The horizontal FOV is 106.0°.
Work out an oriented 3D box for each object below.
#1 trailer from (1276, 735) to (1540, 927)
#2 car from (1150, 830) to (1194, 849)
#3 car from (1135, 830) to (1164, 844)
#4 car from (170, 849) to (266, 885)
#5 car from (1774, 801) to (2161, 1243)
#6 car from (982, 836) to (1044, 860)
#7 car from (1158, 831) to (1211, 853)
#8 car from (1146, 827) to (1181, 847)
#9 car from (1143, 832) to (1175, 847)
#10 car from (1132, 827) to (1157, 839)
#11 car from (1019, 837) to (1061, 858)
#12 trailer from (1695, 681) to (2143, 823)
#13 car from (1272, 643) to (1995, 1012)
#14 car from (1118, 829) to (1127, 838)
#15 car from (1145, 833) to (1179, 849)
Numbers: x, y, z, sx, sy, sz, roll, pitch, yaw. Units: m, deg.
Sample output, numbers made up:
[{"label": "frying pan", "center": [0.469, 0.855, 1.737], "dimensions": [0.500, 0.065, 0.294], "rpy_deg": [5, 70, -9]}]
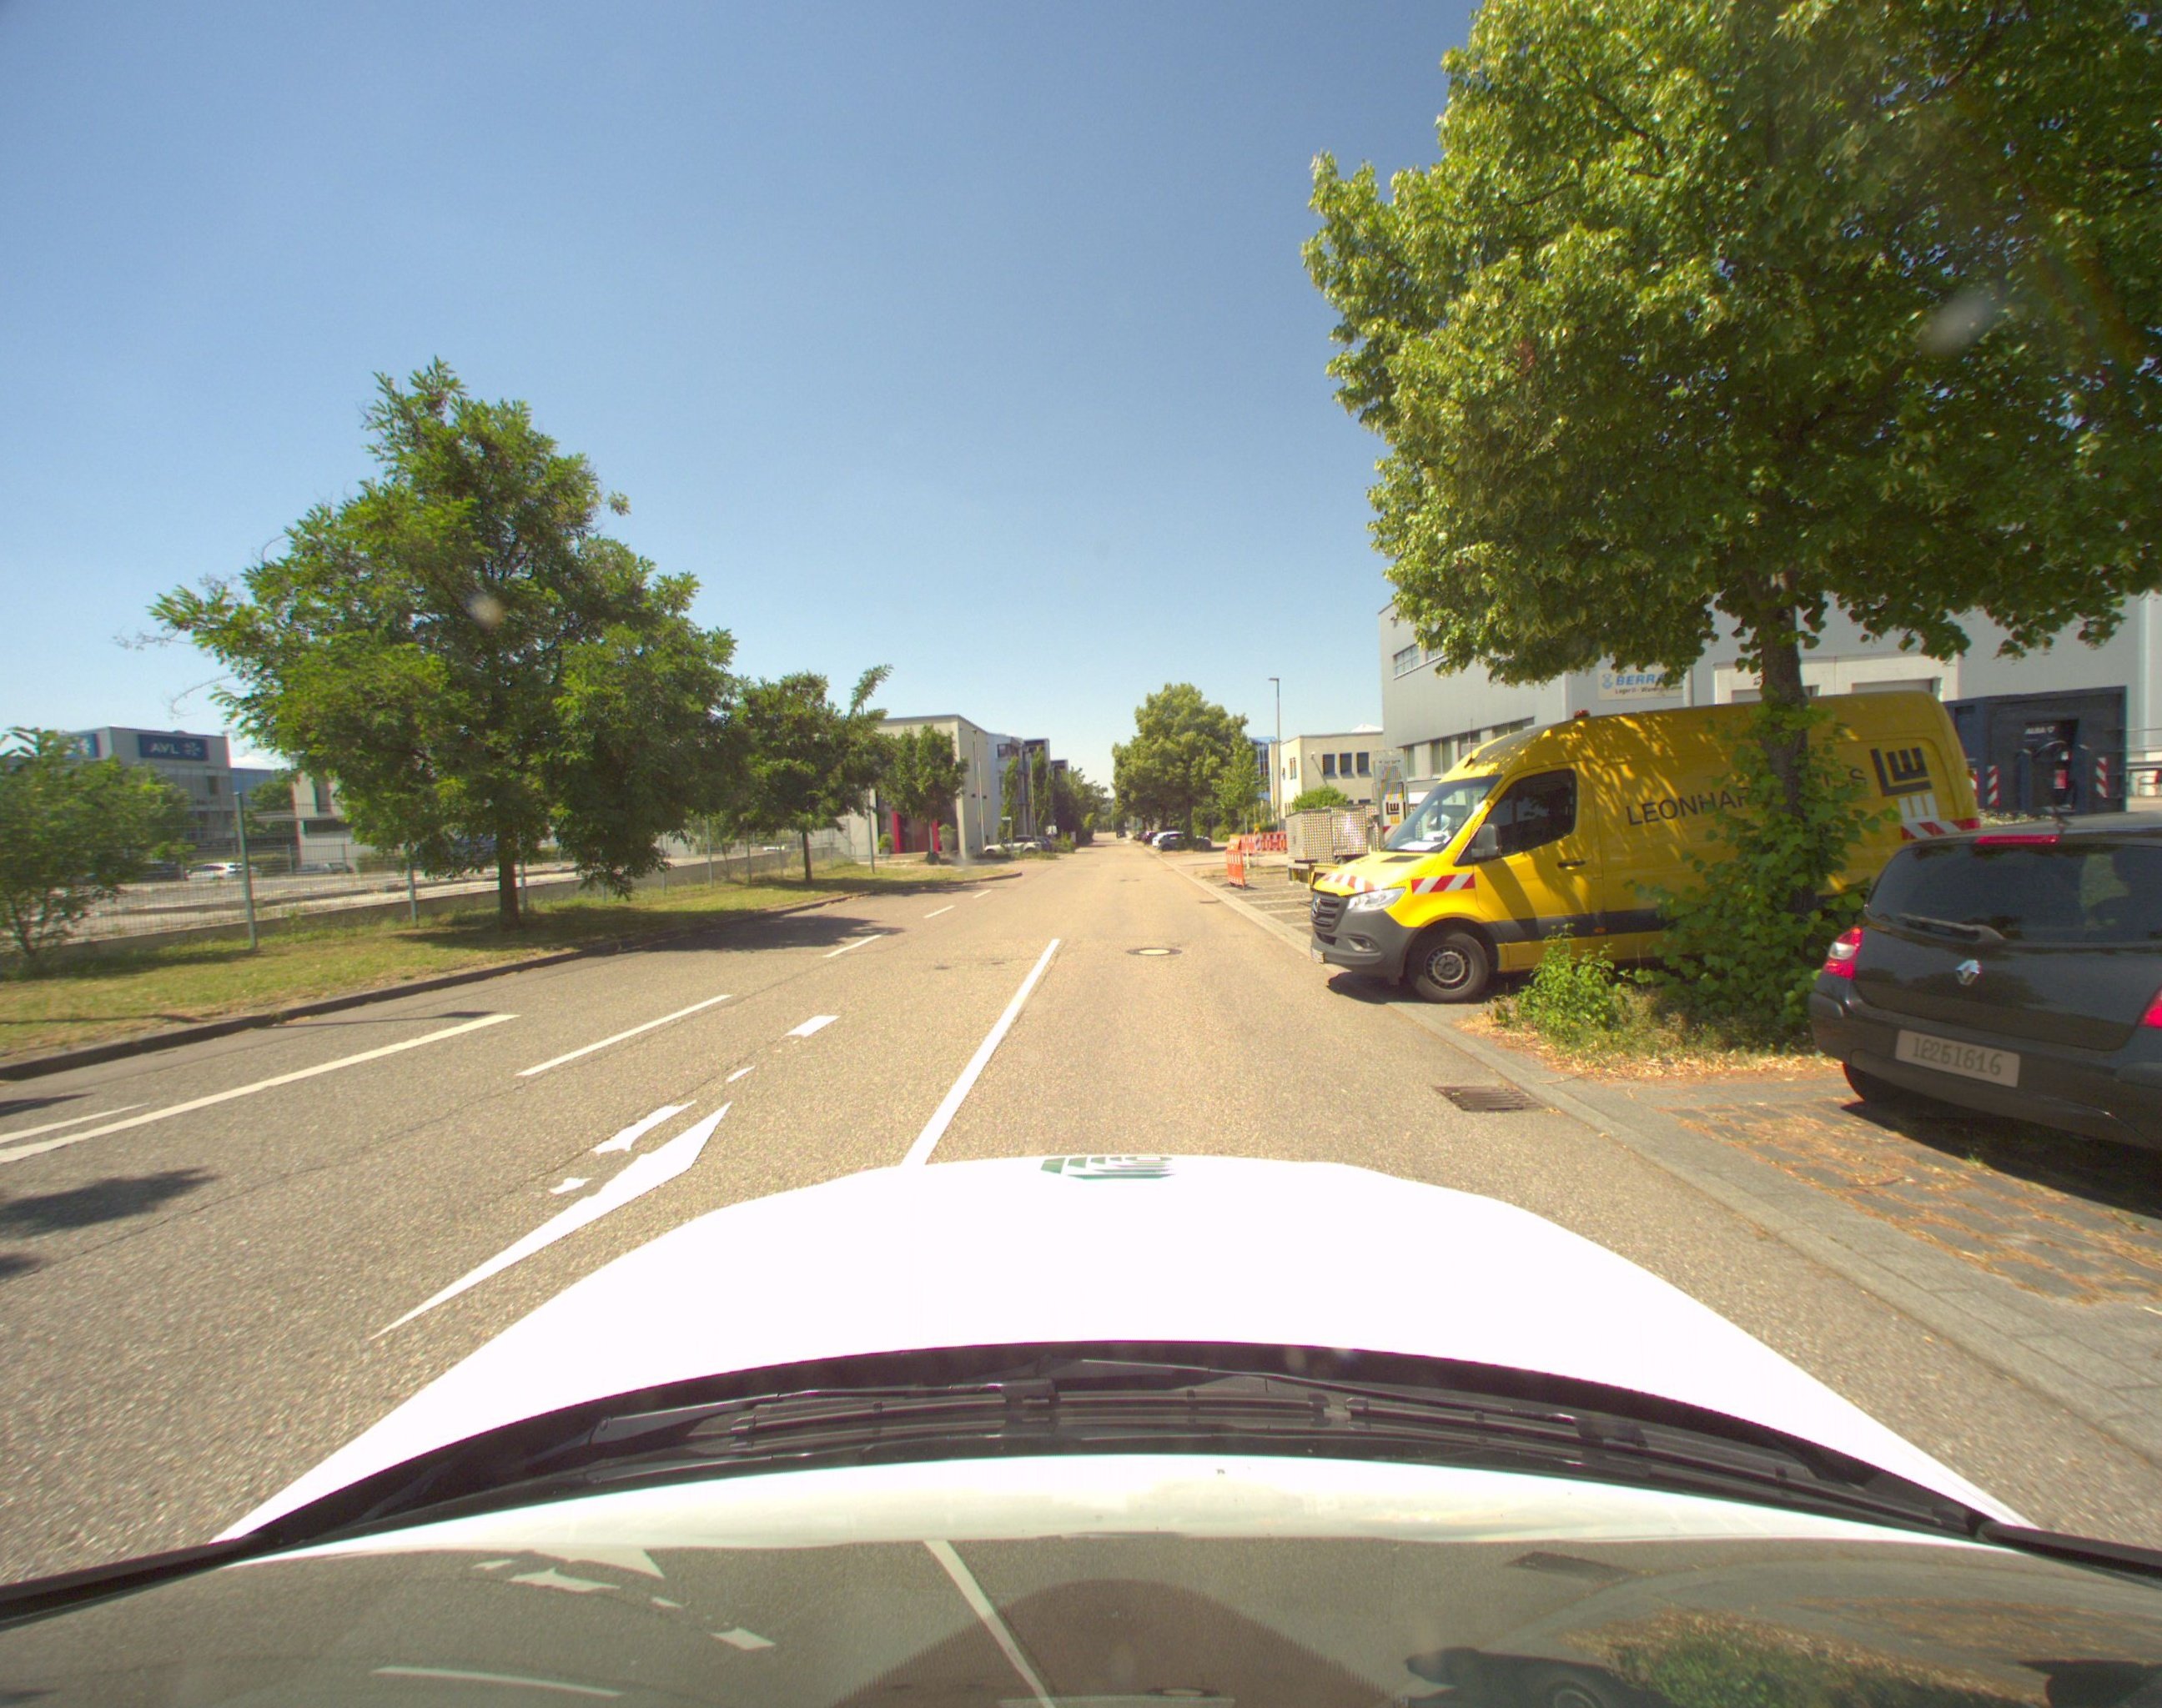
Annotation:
[{"label": "trailer", "center": [5.857, -0.415, 15.691], "dimensions": [2.649, 2.857, 5.518], "rpy_deg": [-4, 1, -1]}, {"label": "car", "center": [7.849, -1.231, 70.421], "dimensions": [3.507, 1.354, 1.537], "rpy_deg": [-5, 1, -2]}, {"label": "car", "center": [10.080, -2.469, 120.134], "dimensions": [3.925, 1.834, 1.764], "rpy_deg": [-2, 5, -5]}, {"label": "car", "center": [-54.677, 0.814, 51.648], "dimensions": [3.968, 2.012, 1.975], "rpy_deg": [-1, 5, 5]}, {"label": "car", "center": [5.429, 0.488, 3.447], "dimensions": [3.590, 1.478, 1.628], "rpy_deg": [-2, 1, 0]}, {"label": "car", "center": [-4.655, -0.403, 55.878], "dimensions": [4.033, 1.494, 1.729], "rpy_deg": [-2, 1, 0]}, {"label": "car", "center": [7.688, -0.878, 60.636], "dimensions": [3.670, 1.354, 1.644], "rpy_deg": [-5, 1, -2]}, {"label": "car", "center": [9.026, -1.862, 89.039], "dimensions": [3.707, 2.110, 1.815], "rpy_deg": [-2, 1, 2]}, {"label": "car", "center": [9.362, -1.746, 98.074], "dimensions": [3.707, 1.626, 1.815], "rpy_deg": [-2, 1, 2]}, {"label": "car", "center": [10.314, -3.414, 132.201], "dimensions": [3.925, 1.577, 1.764], "rpy_deg": [-2, 5, -5]}, {"label": "car", "center": [-3.068, -0.486, 60.370], "dimensions": [3.052, 1.478, 1.291], "rpy_deg": [-1, 1, -4]}, {"label": "trailer", "center": [17.547, -2.102, 18.084], "dimensions": [2.647, 2.419, 7.427], "rpy_deg": [-1, 5, 4]}, {"label": "car", "center": [5.131, -0.236, 8.288], "dimensions": [5.755, 2.732, 2.002], "rpy_deg": [-6, 2, 3]}, {"label": "car", "center": [8.745, -4.334, 171.627], "dimensions": [1.753, 1.755, 3.948], "rpy_deg": [-2, 1, 3]}, {"label": "car", "center": [9.189, -1.493, 92.882], "dimensions": [3.707, 1.626, 1.815], "rpy_deg": [-2, 1, 2]}]
